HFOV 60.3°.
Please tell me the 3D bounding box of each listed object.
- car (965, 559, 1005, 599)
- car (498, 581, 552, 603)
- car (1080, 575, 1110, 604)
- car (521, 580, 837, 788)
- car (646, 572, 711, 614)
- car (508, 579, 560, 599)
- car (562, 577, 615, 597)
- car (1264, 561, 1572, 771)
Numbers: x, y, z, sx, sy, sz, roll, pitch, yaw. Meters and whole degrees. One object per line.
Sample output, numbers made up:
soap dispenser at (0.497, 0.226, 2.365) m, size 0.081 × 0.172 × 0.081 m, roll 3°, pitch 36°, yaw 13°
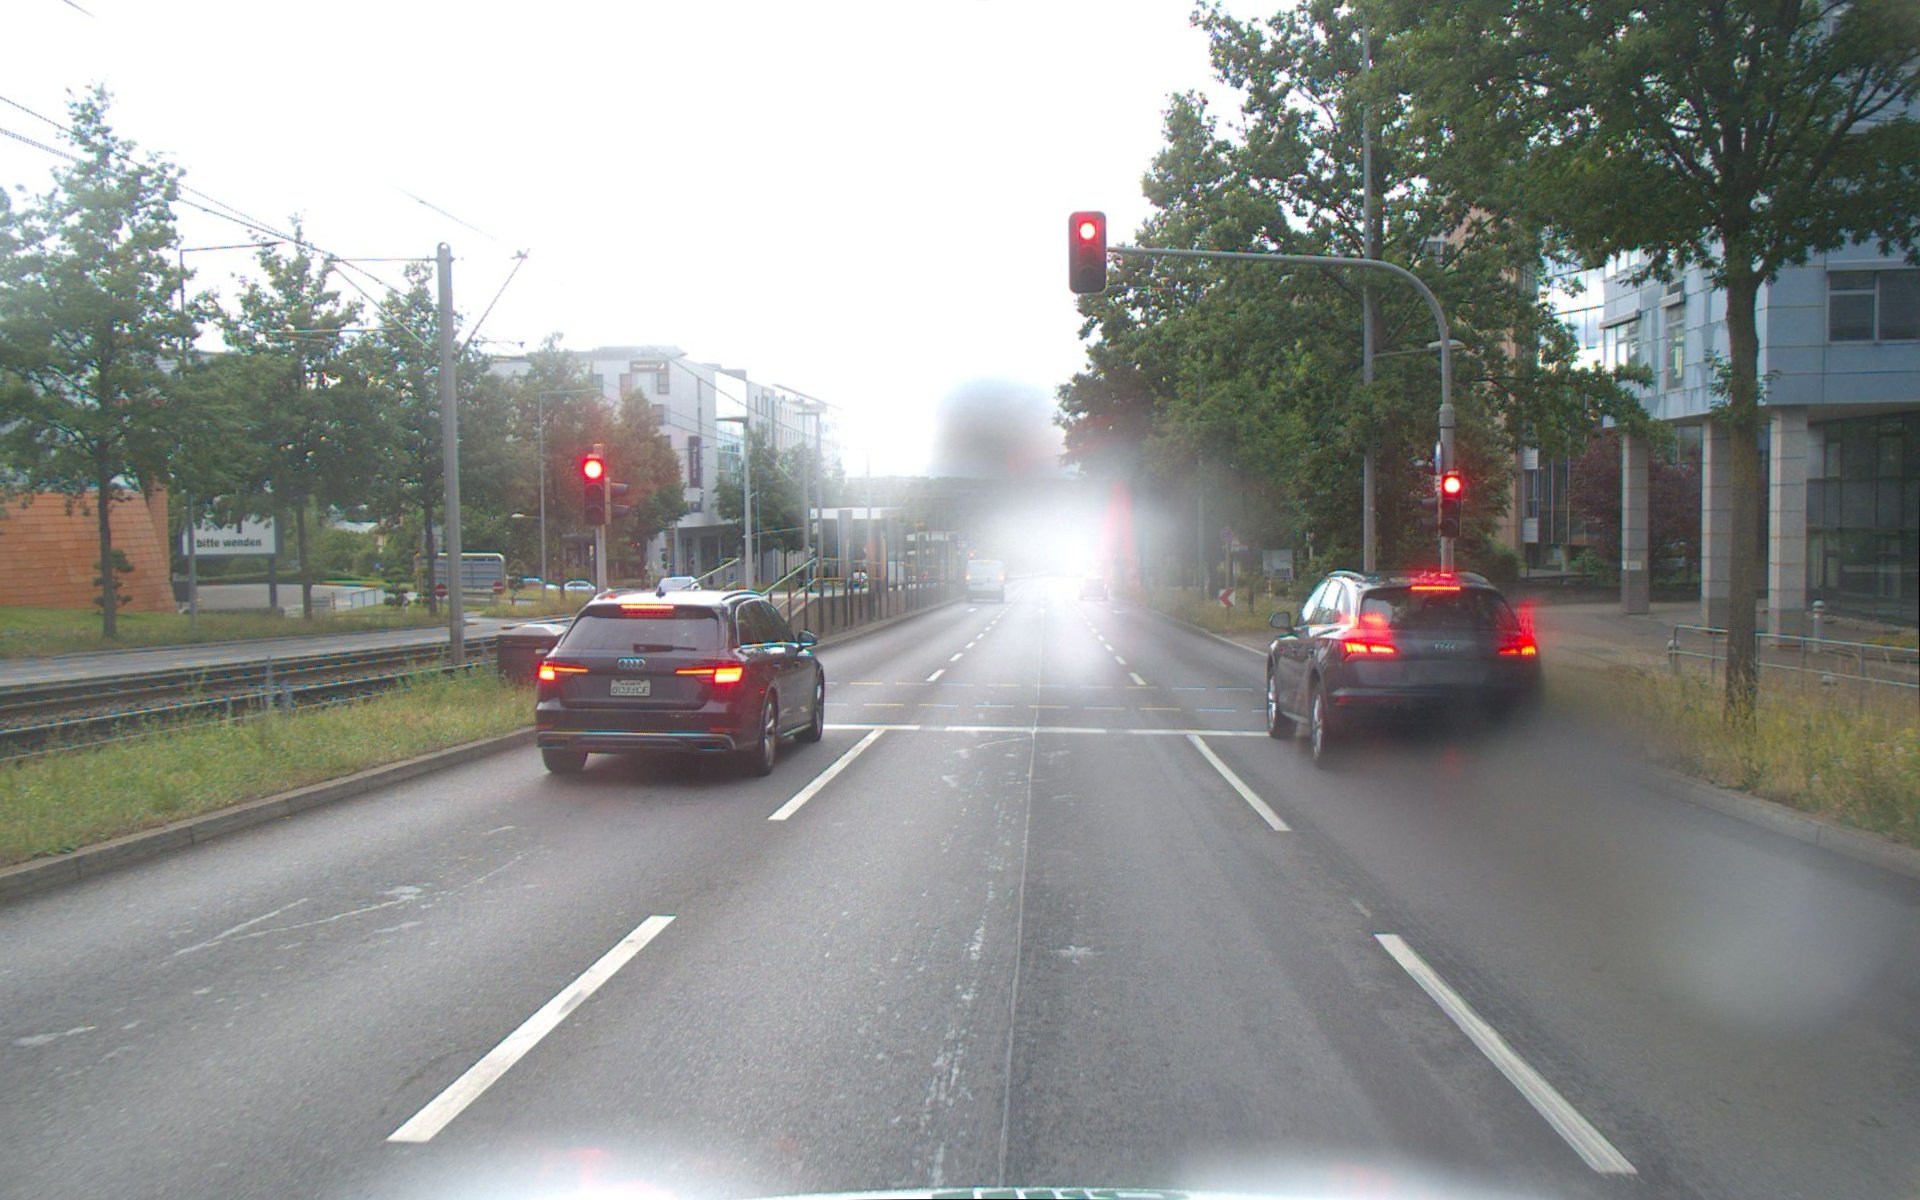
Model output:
car at (1.408, -1.143, 90.236) m, size 2.049 × 2.089 × 4.608 m, roll 0°, pitch 1°, yaw 2°
car at (-29.499, -0.553, 112.169) m, size 3.299 × 1.411 × 1.433 m, roll 1°, pitch 1°, yaw 20°
car at (8.270, -0.670, 101.752) m, size 1.737 × 1.720 × 3.847 m, roll 0°, pitch 1°, yaw 3°
car at (-2.192, 0.576, 14.165) m, size 1.743 × 1.492 × 4.515 m, roll 0°, pitch 1°, yaw 3°
car at (-12.564, -0.355, 74.160) m, size 1.952 × 1.749 × 4.842 m, roll -2°, pitch 1°, yaw 1°
car at (-35.069, -0.878, 136.192) m, size 4.017 × 1.461 × 1.651 m, roll -2°, pitch 1°, yaw -12°
car at (-30.002, -1.051, 133.615) m, size 3.788 × 1.461 × 1.656 m, roll -2°, pitch 1°, yaw -1°
car at (4.012, 0.491, 15.241) m, size 1.780 × 1.641 × 4.472 m, roll 0°, pitch 1°, yaw 3°
